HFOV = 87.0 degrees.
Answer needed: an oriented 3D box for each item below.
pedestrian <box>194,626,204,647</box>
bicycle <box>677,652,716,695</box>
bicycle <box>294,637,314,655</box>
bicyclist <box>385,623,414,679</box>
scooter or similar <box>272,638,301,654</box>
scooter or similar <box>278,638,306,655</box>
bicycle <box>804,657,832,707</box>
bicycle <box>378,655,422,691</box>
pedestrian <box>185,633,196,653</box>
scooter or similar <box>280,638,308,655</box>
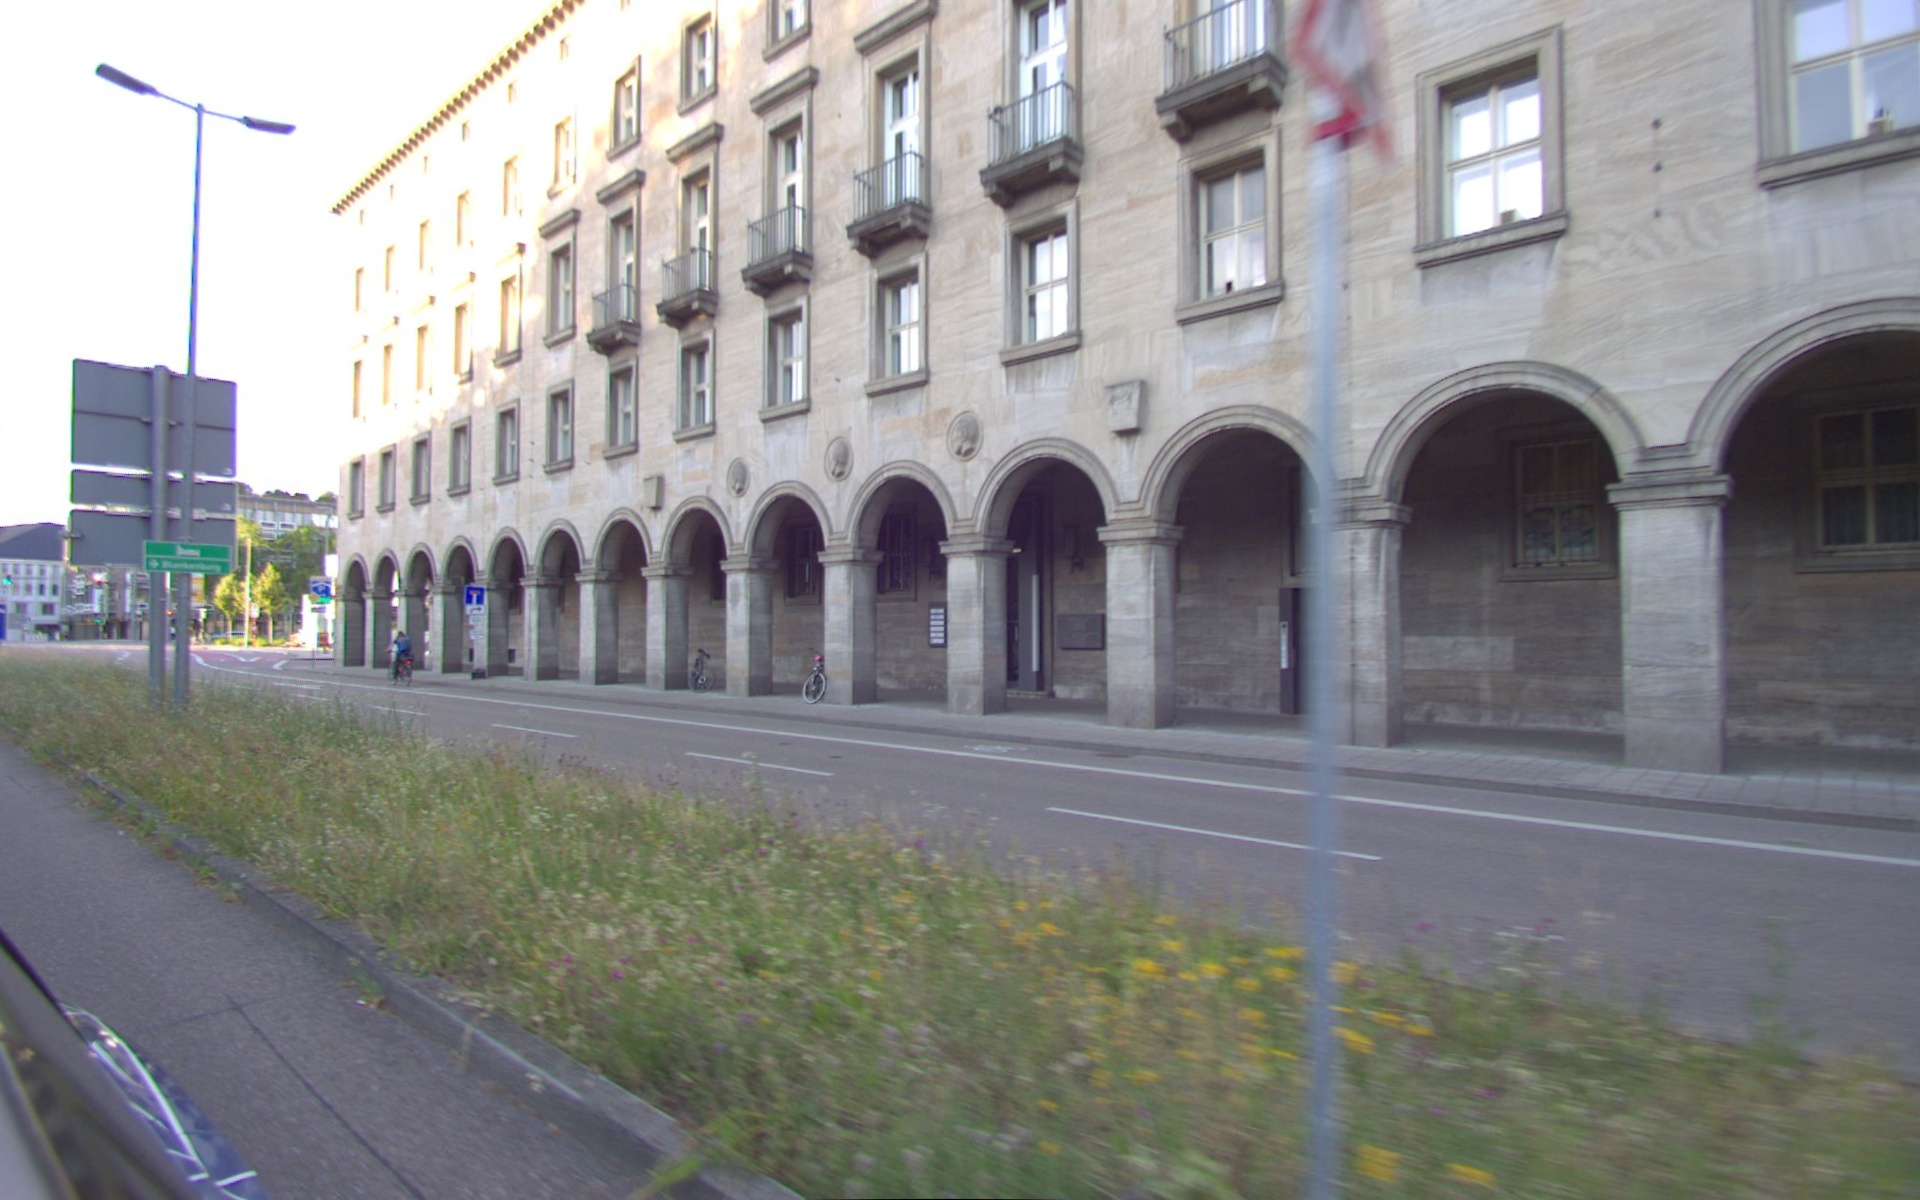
[{"bbox_3d":[-70.995,3.447,94.440,0.648,1.948,0.652,-4,-4,43],"label":"pedestrian"},{"bbox_3d":[-6.696,1.839,25.636,0.470,1.013,2.011,1,-3,-29],"label":"bicycle"},{"bbox_3d":[-51.851,3.621,79.981,2.508,1.334,0.611,-2,-3,41],"label":"bicycle"},{"bbox_3d":[-17.309,1.556,31.259,0.748,1.706,0.530,-2,-3,43],"label":"bicyclist"},{"bbox_3d":[-54.593,3.735,82.056,0.500,1.315,1.841,-2,-3,36],"label":"scooter or similar"},{"bbox_3d":[-53.794,3.715,81.468,0.422,1.315,1.814,-2,-3,36],"label":"scooter or similar"},{"bbox_3d":[-3.110,1.765,22.088,0.471,1.013,2.010,0,-2,-12],"label":"bicycle"},{"bbox_3d":[-17.291,2.245,31.216,2.004,1.013,0.535,-1,-2,42],"label":"bicycle"},{"bbox_3d":[-71.209,3.938,93.669,0.776,1.851,0.692,-2,-3,43],"label":"pedestrian"},{"bbox_3d":[-53.444,3.700,81.198,0.422,1.315,1.819,-2,-3,36],"label":"scooter or similar"}]
